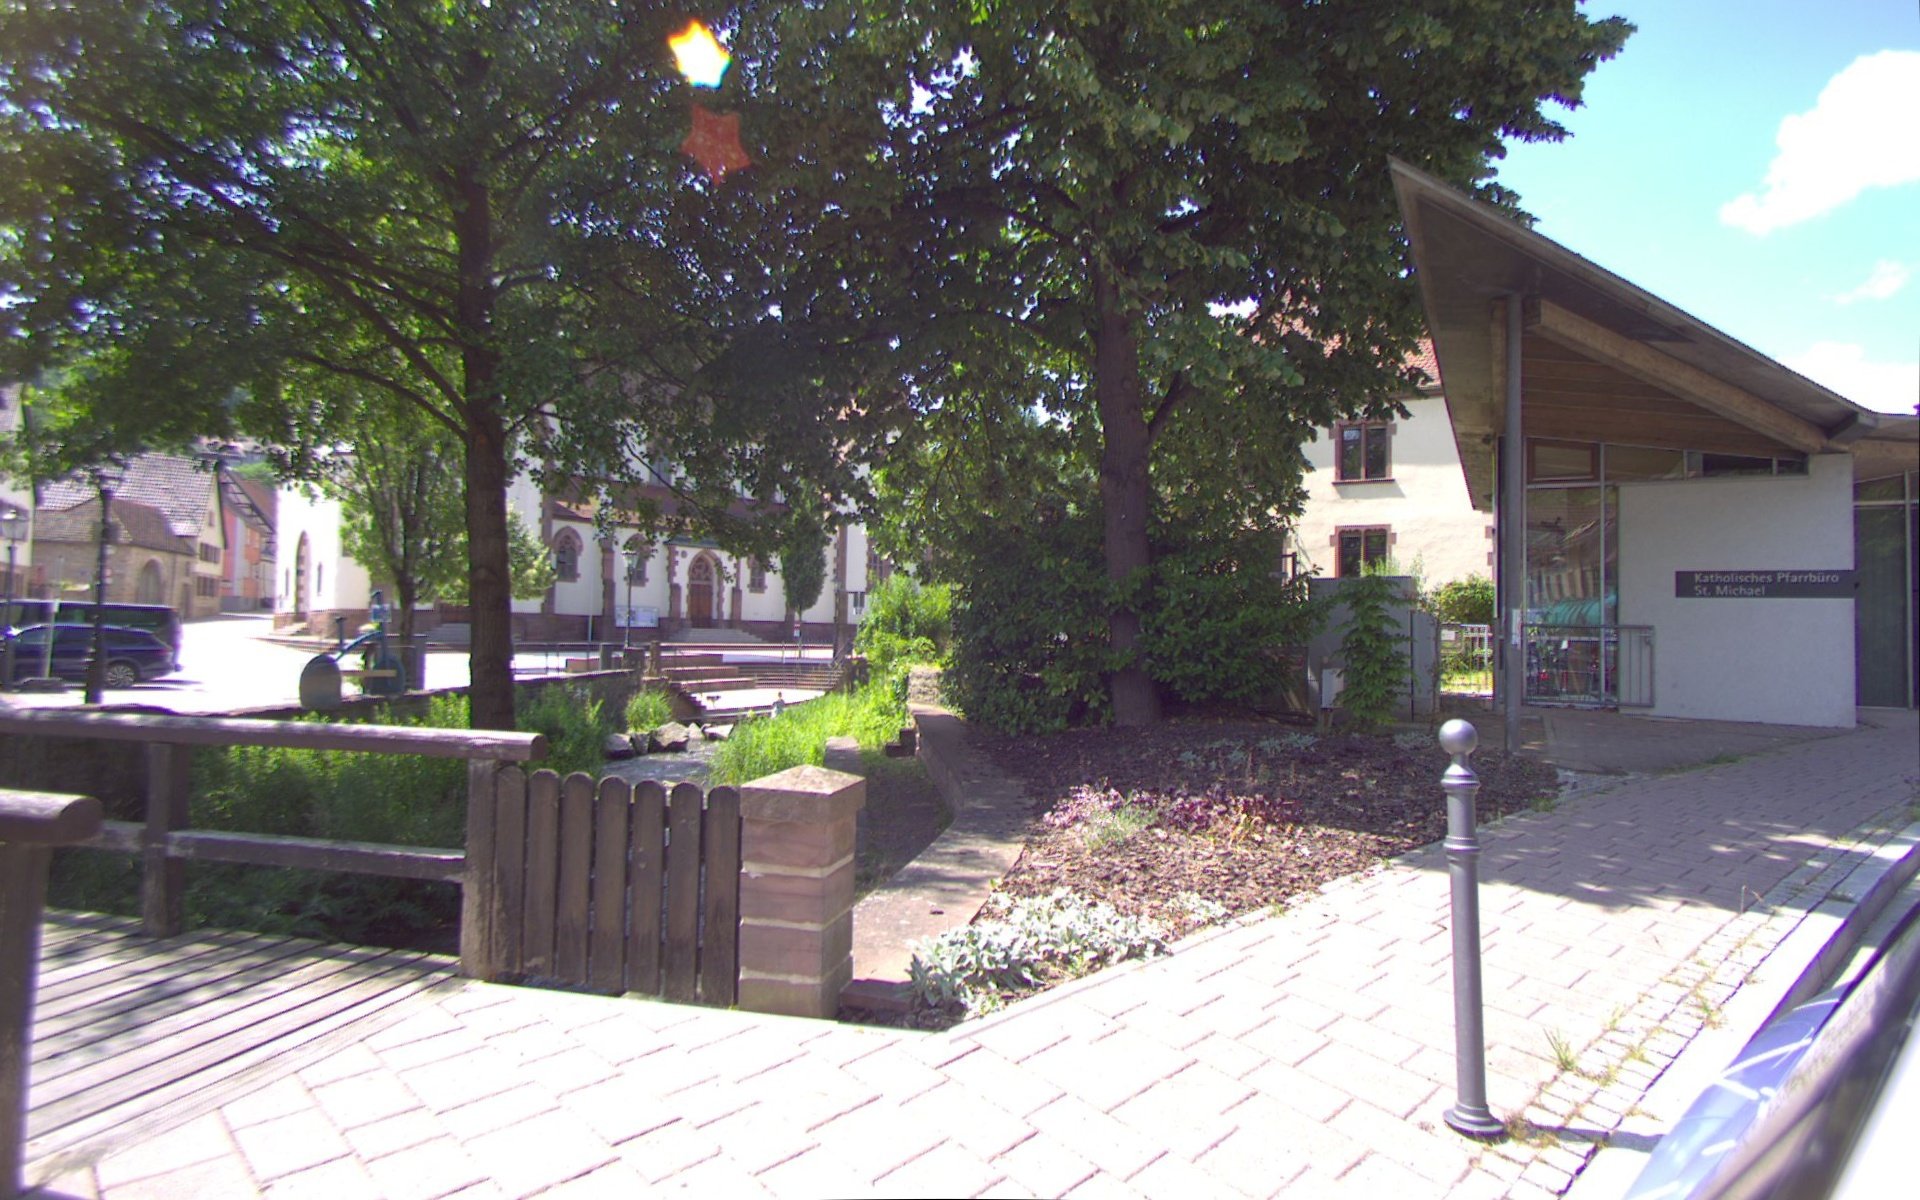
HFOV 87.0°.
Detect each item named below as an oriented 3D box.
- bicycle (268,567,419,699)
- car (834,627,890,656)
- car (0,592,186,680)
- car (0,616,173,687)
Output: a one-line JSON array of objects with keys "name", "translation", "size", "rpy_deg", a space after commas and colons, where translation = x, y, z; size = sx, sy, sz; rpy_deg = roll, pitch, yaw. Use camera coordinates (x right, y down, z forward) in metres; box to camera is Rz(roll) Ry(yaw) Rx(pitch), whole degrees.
[{"name": "bicycle", "translation": [-10.433, 0.554, 17.274], "size": [0.769, 2.040, 2.662], "rpy_deg": [-3, -2, 5]}, {"name": "car", "translation": [-5.373, 2.272, 56.147], "size": [1.650, 1.524, 3.784], "rpy_deg": [-1, -2, 20]}, {"name": "car", "translation": [-22.748, 0.895, 25.323], "size": [1.953, 2.053, 5.040], "rpy_deg": [1, -3, 44]}, {"name": "car", "translation": [-20.962, 1.165, 23.119], "size": [1.584, 1.501, 4.466], "rpy_deg": [1, -3, 44]}]
